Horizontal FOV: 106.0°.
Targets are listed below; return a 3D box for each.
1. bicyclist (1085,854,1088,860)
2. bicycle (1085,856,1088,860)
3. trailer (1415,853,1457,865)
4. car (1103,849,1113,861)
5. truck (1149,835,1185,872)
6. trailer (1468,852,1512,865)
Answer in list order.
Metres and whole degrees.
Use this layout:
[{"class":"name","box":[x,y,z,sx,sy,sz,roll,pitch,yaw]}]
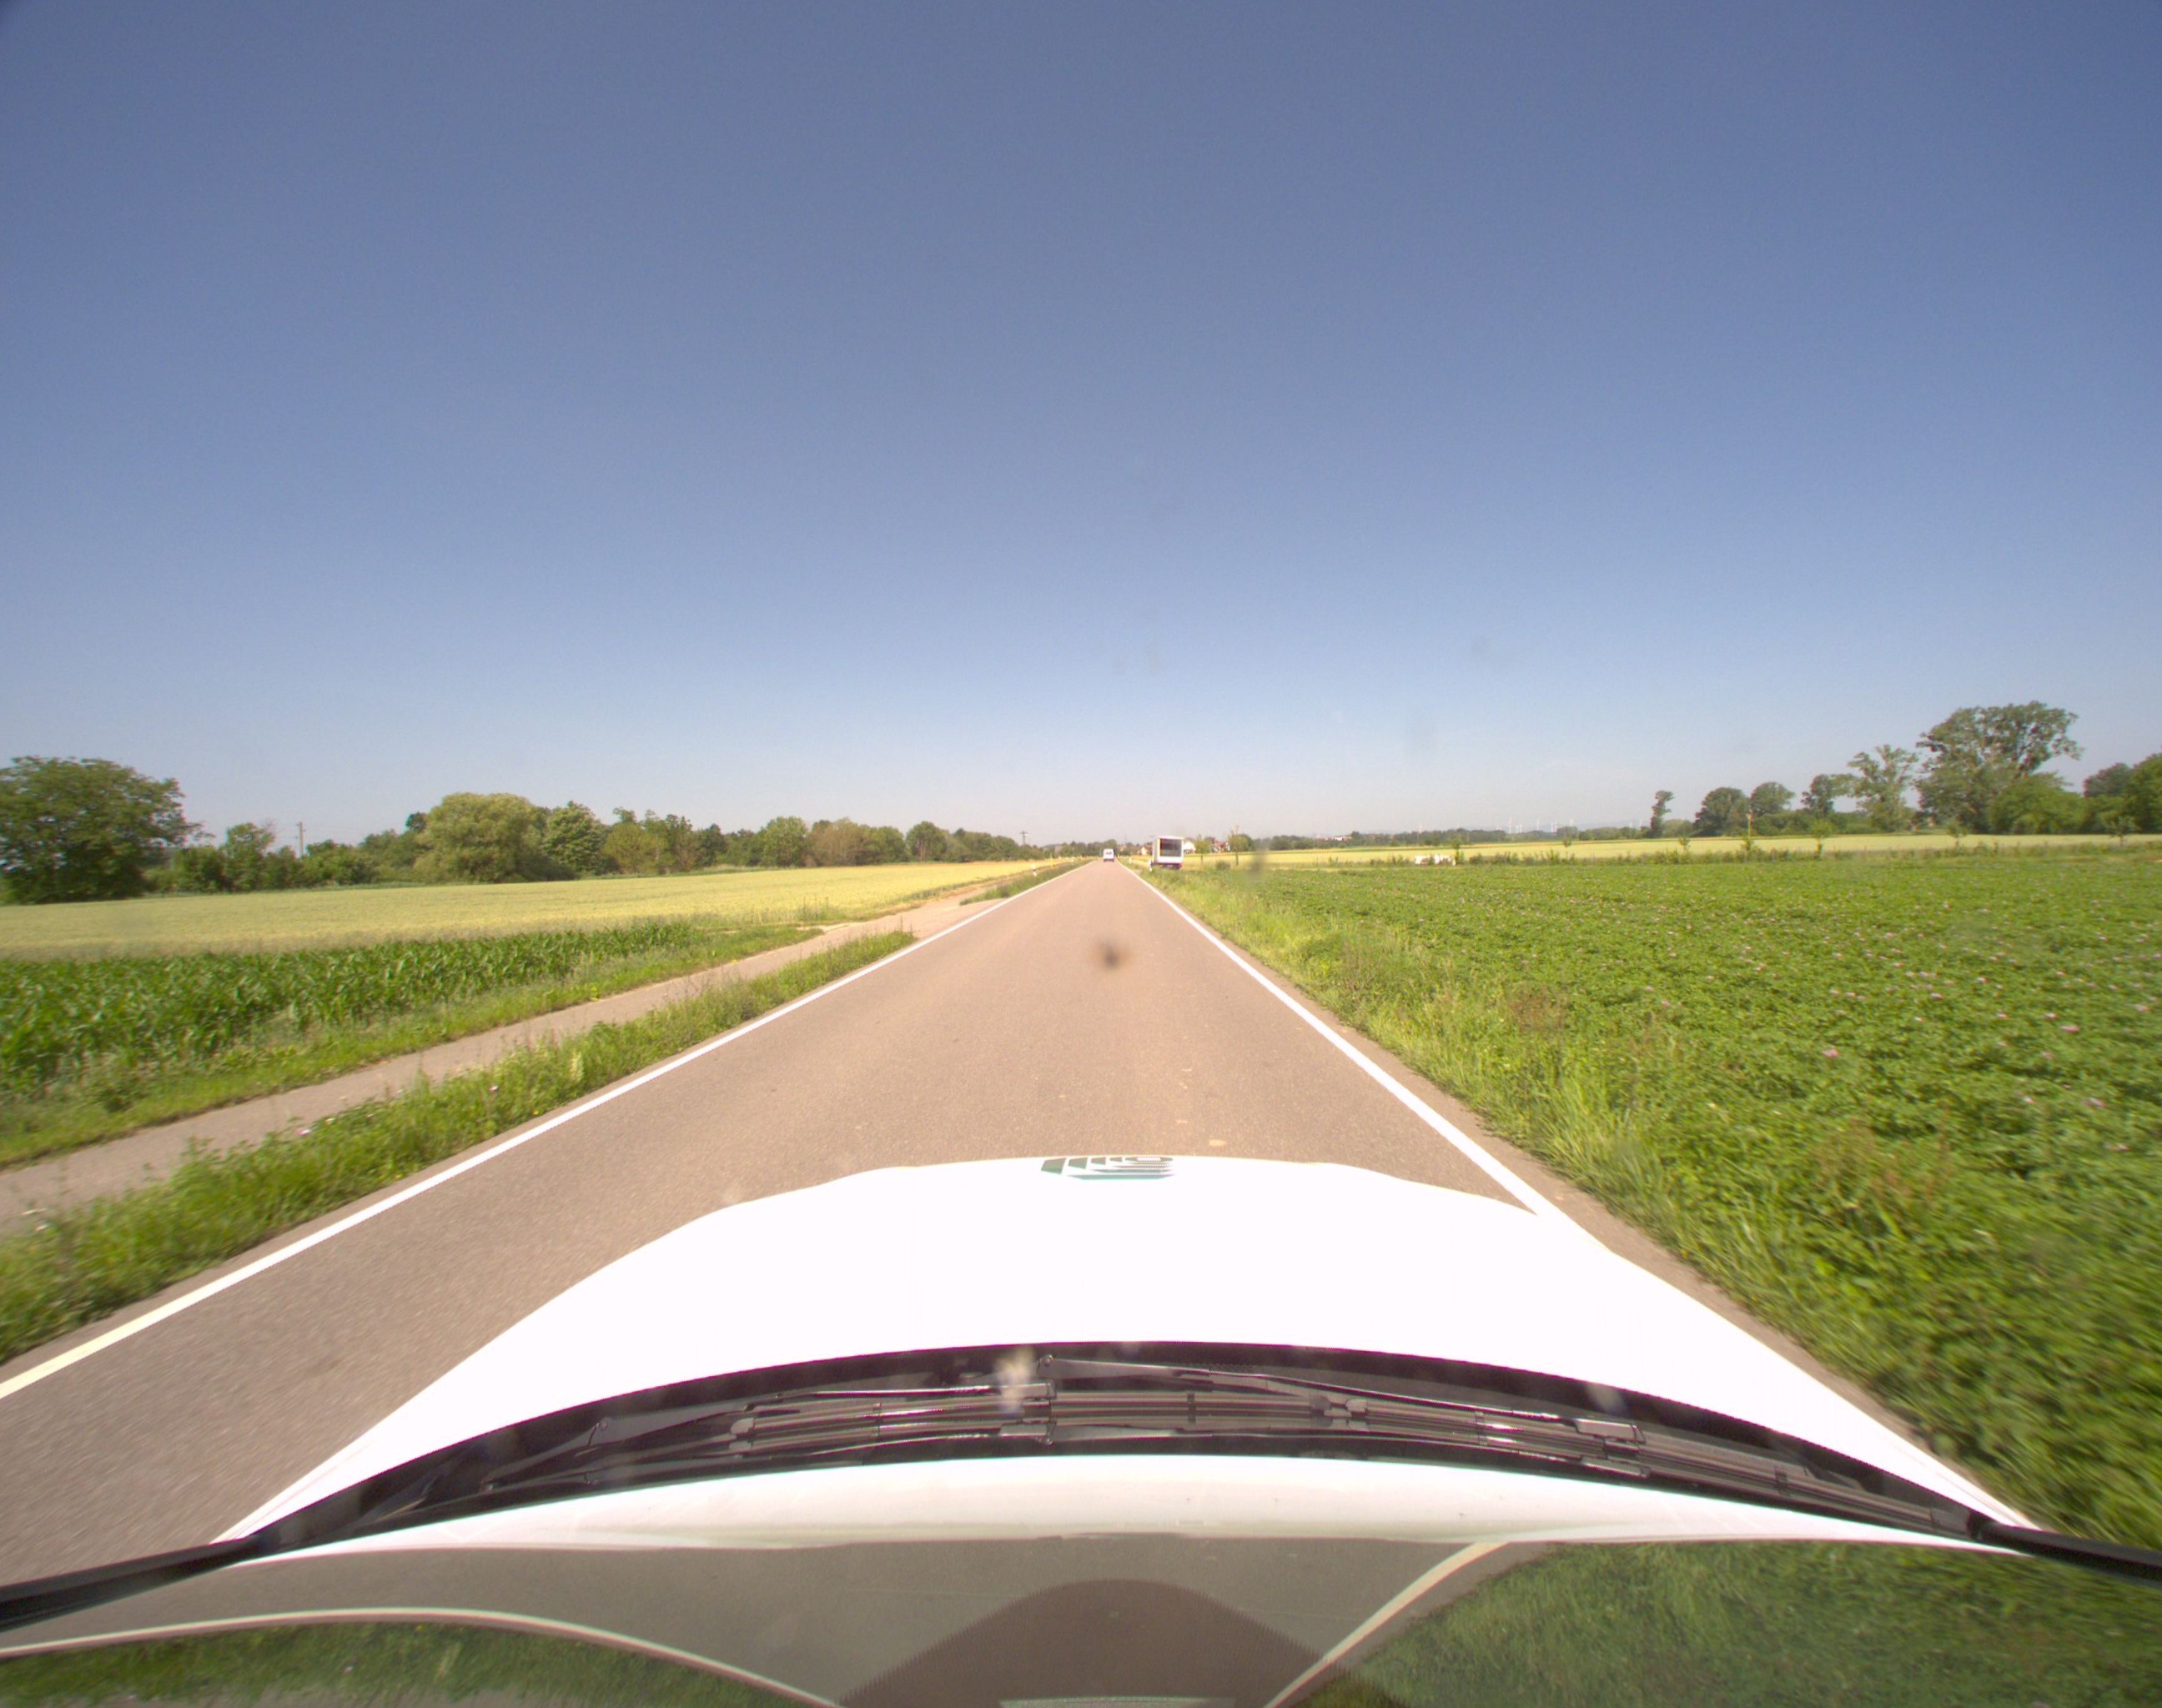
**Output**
[{"class":"bicyclist","box":[1.419,0.861,225.723,0.757,1.672,1.089,-3,-1,2]},{"class":"bicycle","box":[1.428,1.085,225.695,0.756,1.236,2.395,-4,0,2]},{"class":"trailer","box":[34.702,0.477,79.683,3.560,1.189,1.670,0,0,13]},{"class":"car","box":[5.472,0.257,164.546,2.099,2.304,5.498,0,0,2]},{"class":"truck","box":[7.267,0.006,69.731,2.328,2.942,7.007,1,0,0]},{"class":"trailer","box":[39.288,0.428,78.268,3.513,1.189,1.670,-1,-1,13]}]
